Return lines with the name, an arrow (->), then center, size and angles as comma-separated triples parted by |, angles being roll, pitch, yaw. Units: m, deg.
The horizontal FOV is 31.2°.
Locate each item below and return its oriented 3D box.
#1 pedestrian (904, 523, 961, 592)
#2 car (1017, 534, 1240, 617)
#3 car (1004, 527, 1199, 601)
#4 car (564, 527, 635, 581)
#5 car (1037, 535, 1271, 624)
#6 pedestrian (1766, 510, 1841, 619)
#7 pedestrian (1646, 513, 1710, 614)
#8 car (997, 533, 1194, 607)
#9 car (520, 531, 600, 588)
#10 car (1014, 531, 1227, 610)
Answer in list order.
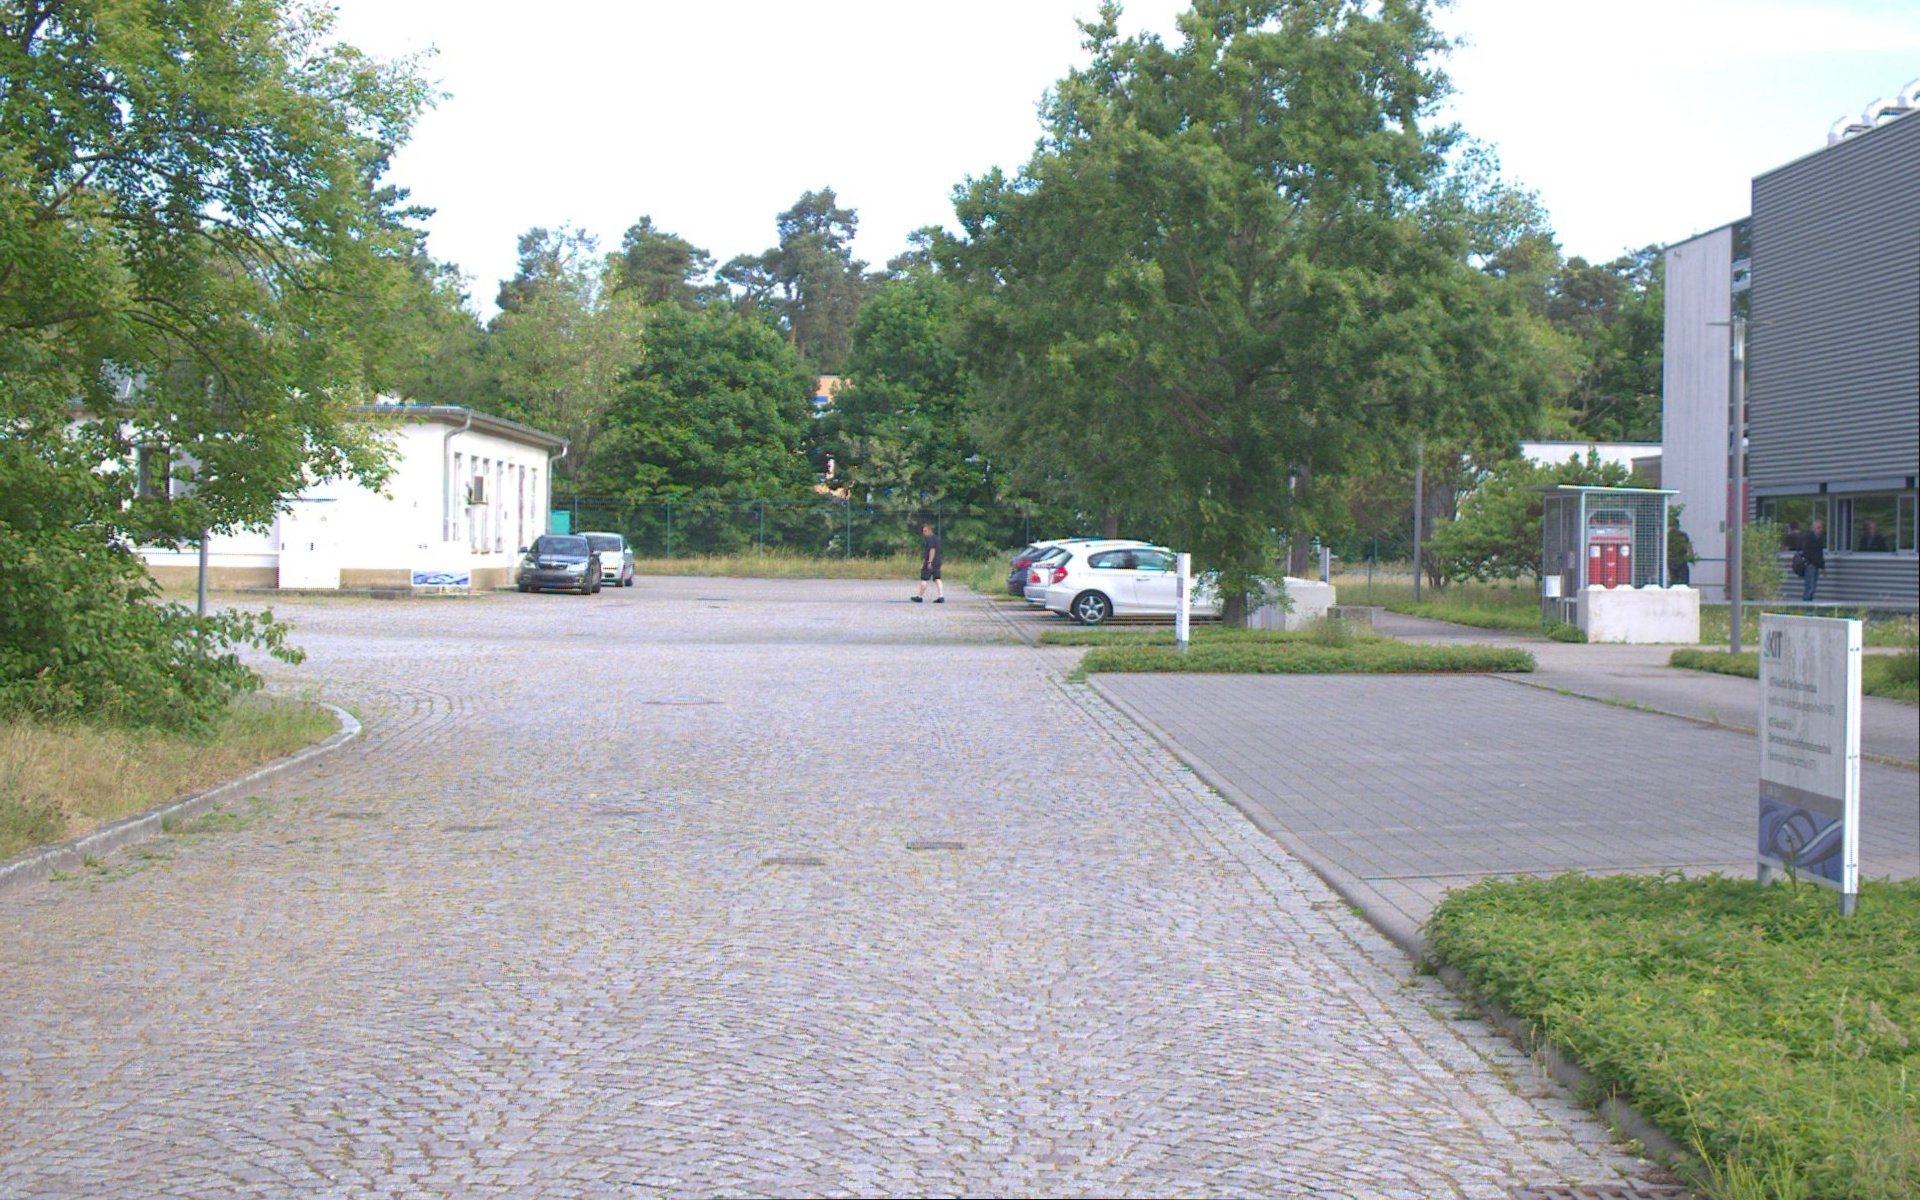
pedestrian -> -0.644, -0.987, 79.559 | 0.940, 1.563, 0.971 | 0, 1, -30
car -> 3.075, -0.459, 63.263 | 3.987, 1.450, 1.697 | 1, 1, -1
car -> 3.041, -0.781, 74.420 | 3.986, 1.528, 2.000 | 1, 1, -5
car -> -9.954, -1.283, 95.126 | 1.748, 1.449, 4.001 | 1, 1, -3
car -> 3.416, -0.370, 61.099 | 3.987, 1.450, 2.000 | 2, 0, -1
pedestrian -> 15.110, -0.635, 61.603 | 0.917, 1.930, 0.855 | 1, 1, -31
pedestrian -> 14.578, -0.747, 69.846 | 0.920, 2.007, 1.147 | 1, 1, -7
car -> 2.782, -0.626, 71.203 | 3.987, 1.450, 1.770 | 1, 1, -1
car -> -9.853, -1.014, 84.897 | 1.748, 1.359, 4.001 | 1, 1, -3
car -> 3.068, -0.583, 66.302 | 3.987, 1.450, 1.770 | 1, 1, -1
